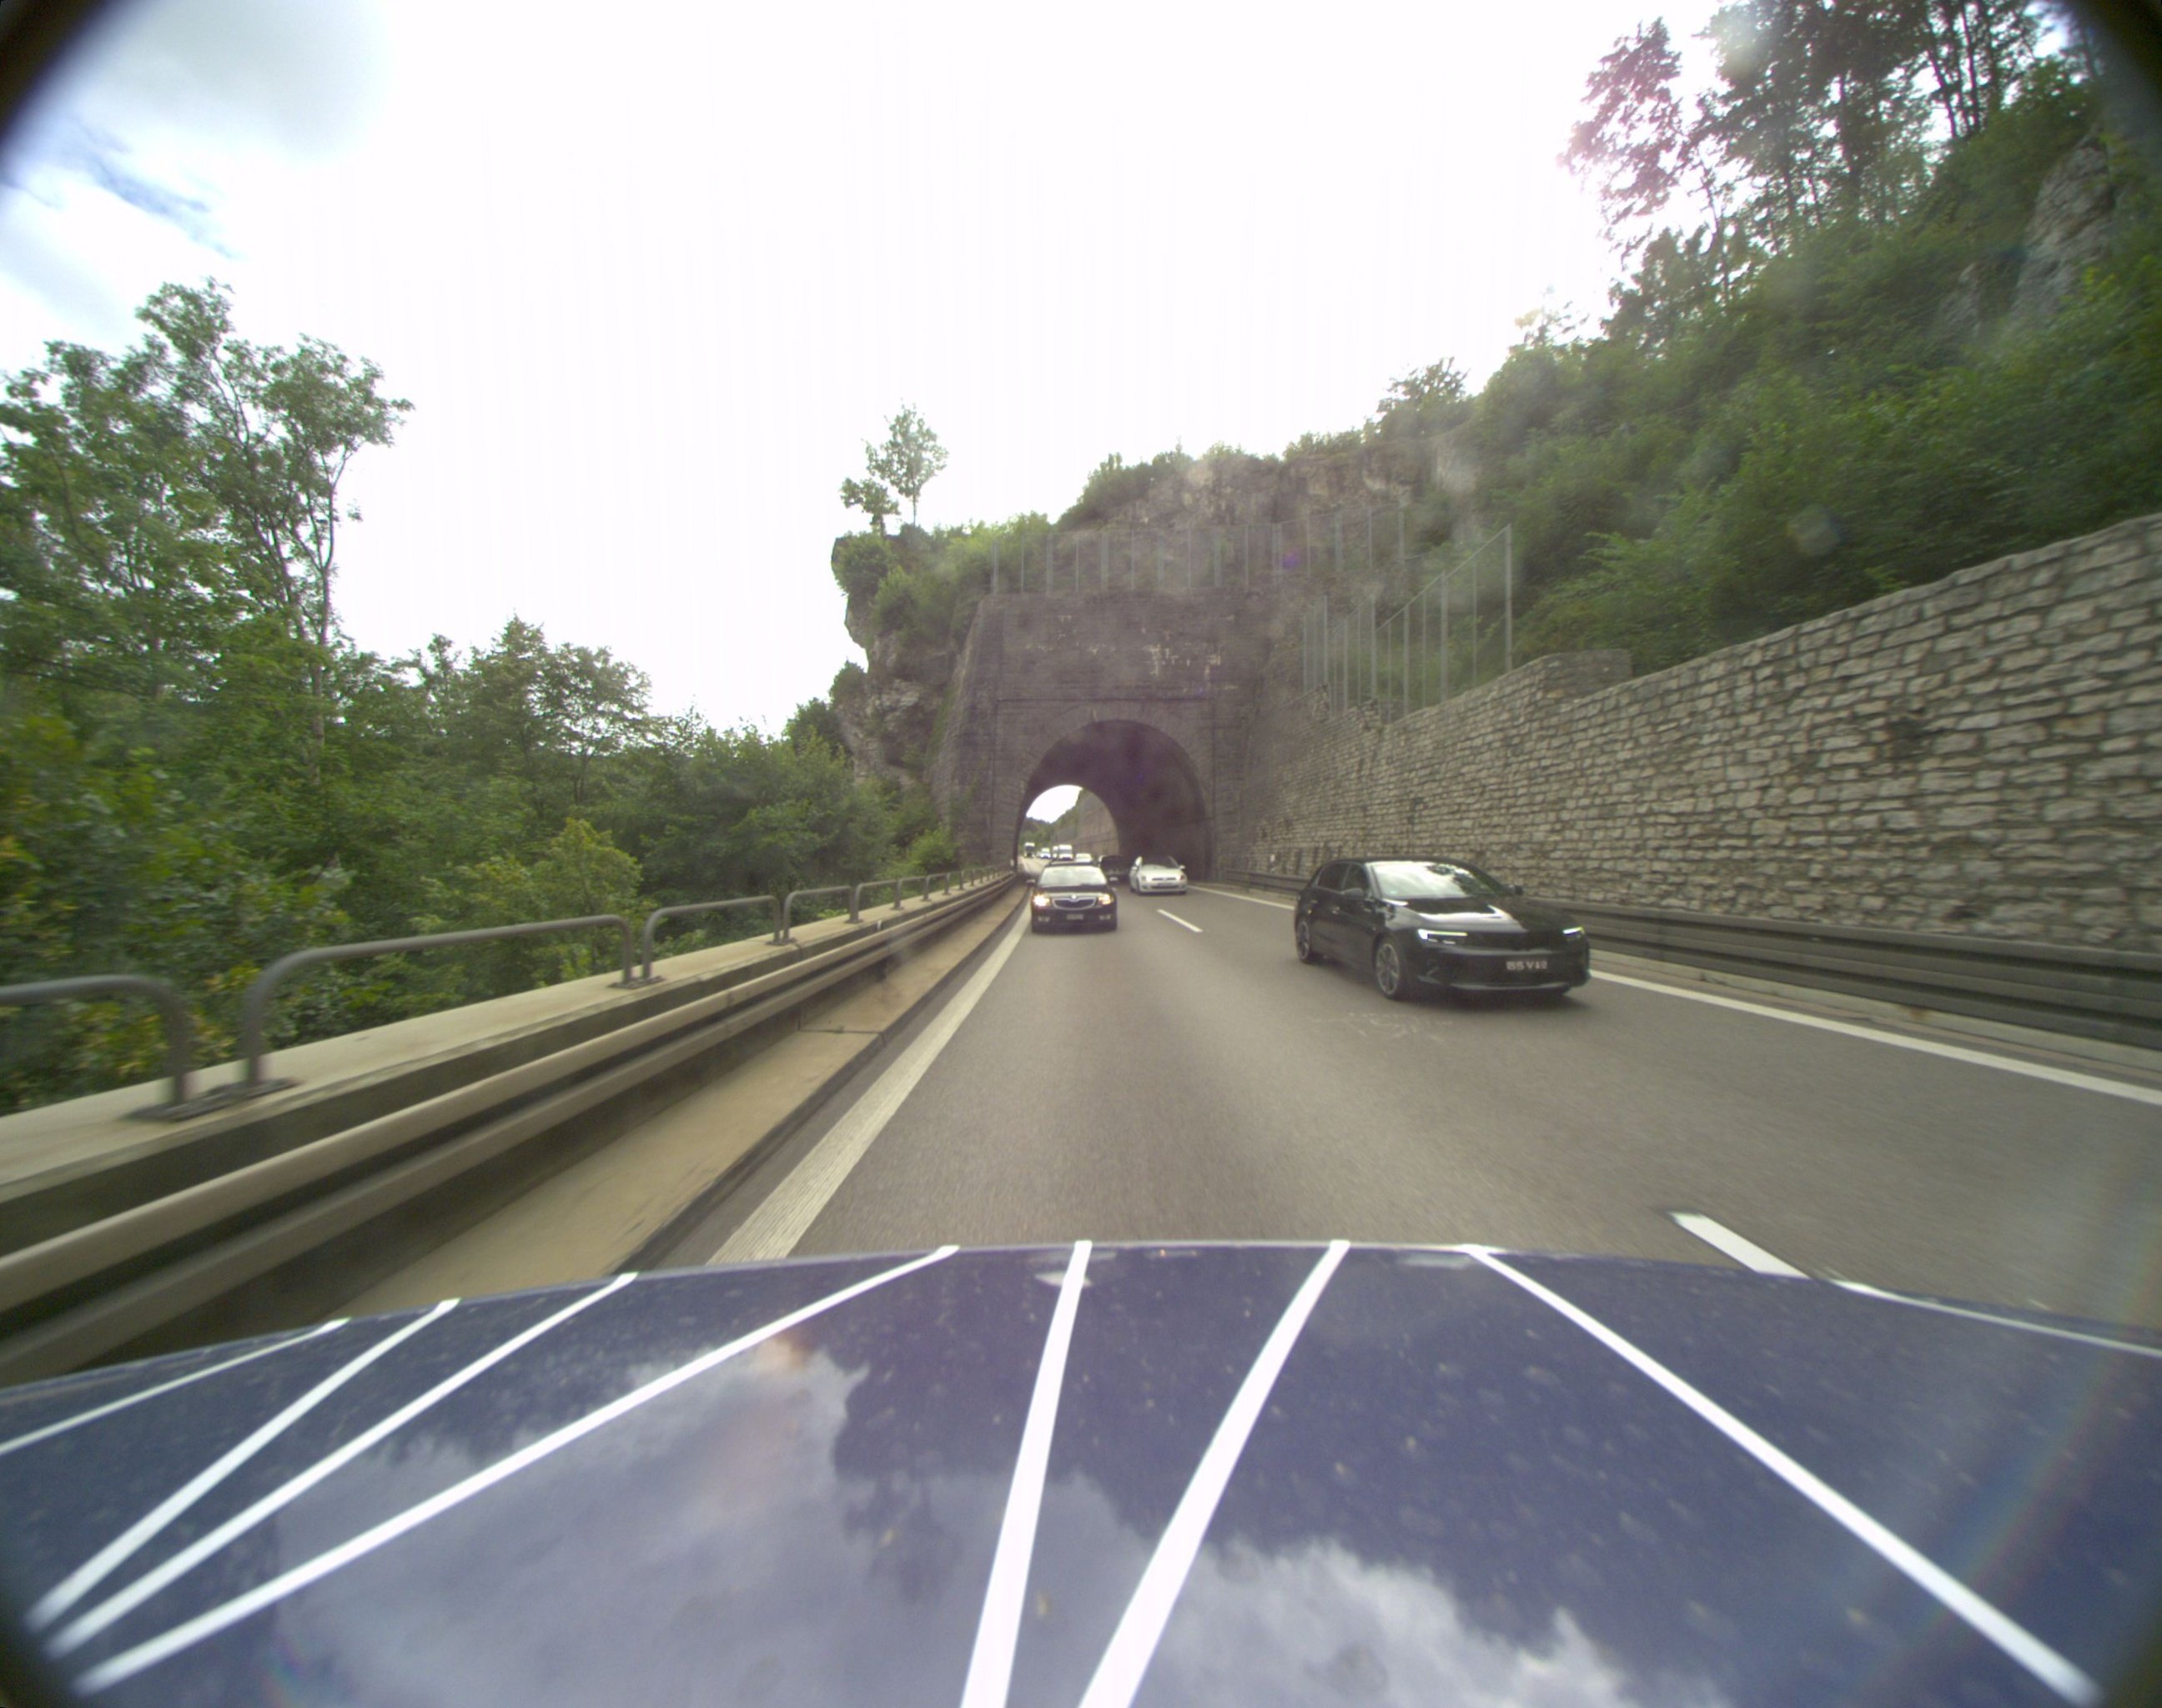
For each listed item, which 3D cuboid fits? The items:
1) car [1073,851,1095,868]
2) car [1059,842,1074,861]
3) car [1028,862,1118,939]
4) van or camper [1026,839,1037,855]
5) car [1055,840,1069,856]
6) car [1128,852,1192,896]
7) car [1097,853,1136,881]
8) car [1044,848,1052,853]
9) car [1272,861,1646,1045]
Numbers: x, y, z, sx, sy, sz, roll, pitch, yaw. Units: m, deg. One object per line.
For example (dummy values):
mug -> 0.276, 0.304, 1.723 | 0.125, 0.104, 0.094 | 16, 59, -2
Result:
car -> 0.296, 0.496, 71.558 | 1.923, 1.452, 4.231 | -3, 0, 0
car -> -2.047, -0.349, 103.730 | 1.869, 2.444, 4.981 | -3, 1, -2
car -> -0.183, 0.938, 17.056 | 1.677, 1.418, 4.472 | -3, 0, -1
van or camper -> -13.216, -1.860, 202.815 | 2.640, 3.864, 8.462 | -2, 1, -6
car -> -3.192, -0.982, 126.833 | 1.869, 2.444, 4.980 | -3, 1, -4
car -> 2.940, 0.703, 29.304 | 1.850, 1.473, 4.626 | -2, 1, -1
car -> 2.004, 0.716, 44.140 | 1.833, 1.448, 5.135 | -3, 0, -1
car -> -8.146, -0.811, 184.933 | 1.652, 1.310, 4.066 | -2, 1, -6
car -> 3.798, 0.852, 8.737 | 1.778, 1.452, 4.580 | -2, 0, -3
